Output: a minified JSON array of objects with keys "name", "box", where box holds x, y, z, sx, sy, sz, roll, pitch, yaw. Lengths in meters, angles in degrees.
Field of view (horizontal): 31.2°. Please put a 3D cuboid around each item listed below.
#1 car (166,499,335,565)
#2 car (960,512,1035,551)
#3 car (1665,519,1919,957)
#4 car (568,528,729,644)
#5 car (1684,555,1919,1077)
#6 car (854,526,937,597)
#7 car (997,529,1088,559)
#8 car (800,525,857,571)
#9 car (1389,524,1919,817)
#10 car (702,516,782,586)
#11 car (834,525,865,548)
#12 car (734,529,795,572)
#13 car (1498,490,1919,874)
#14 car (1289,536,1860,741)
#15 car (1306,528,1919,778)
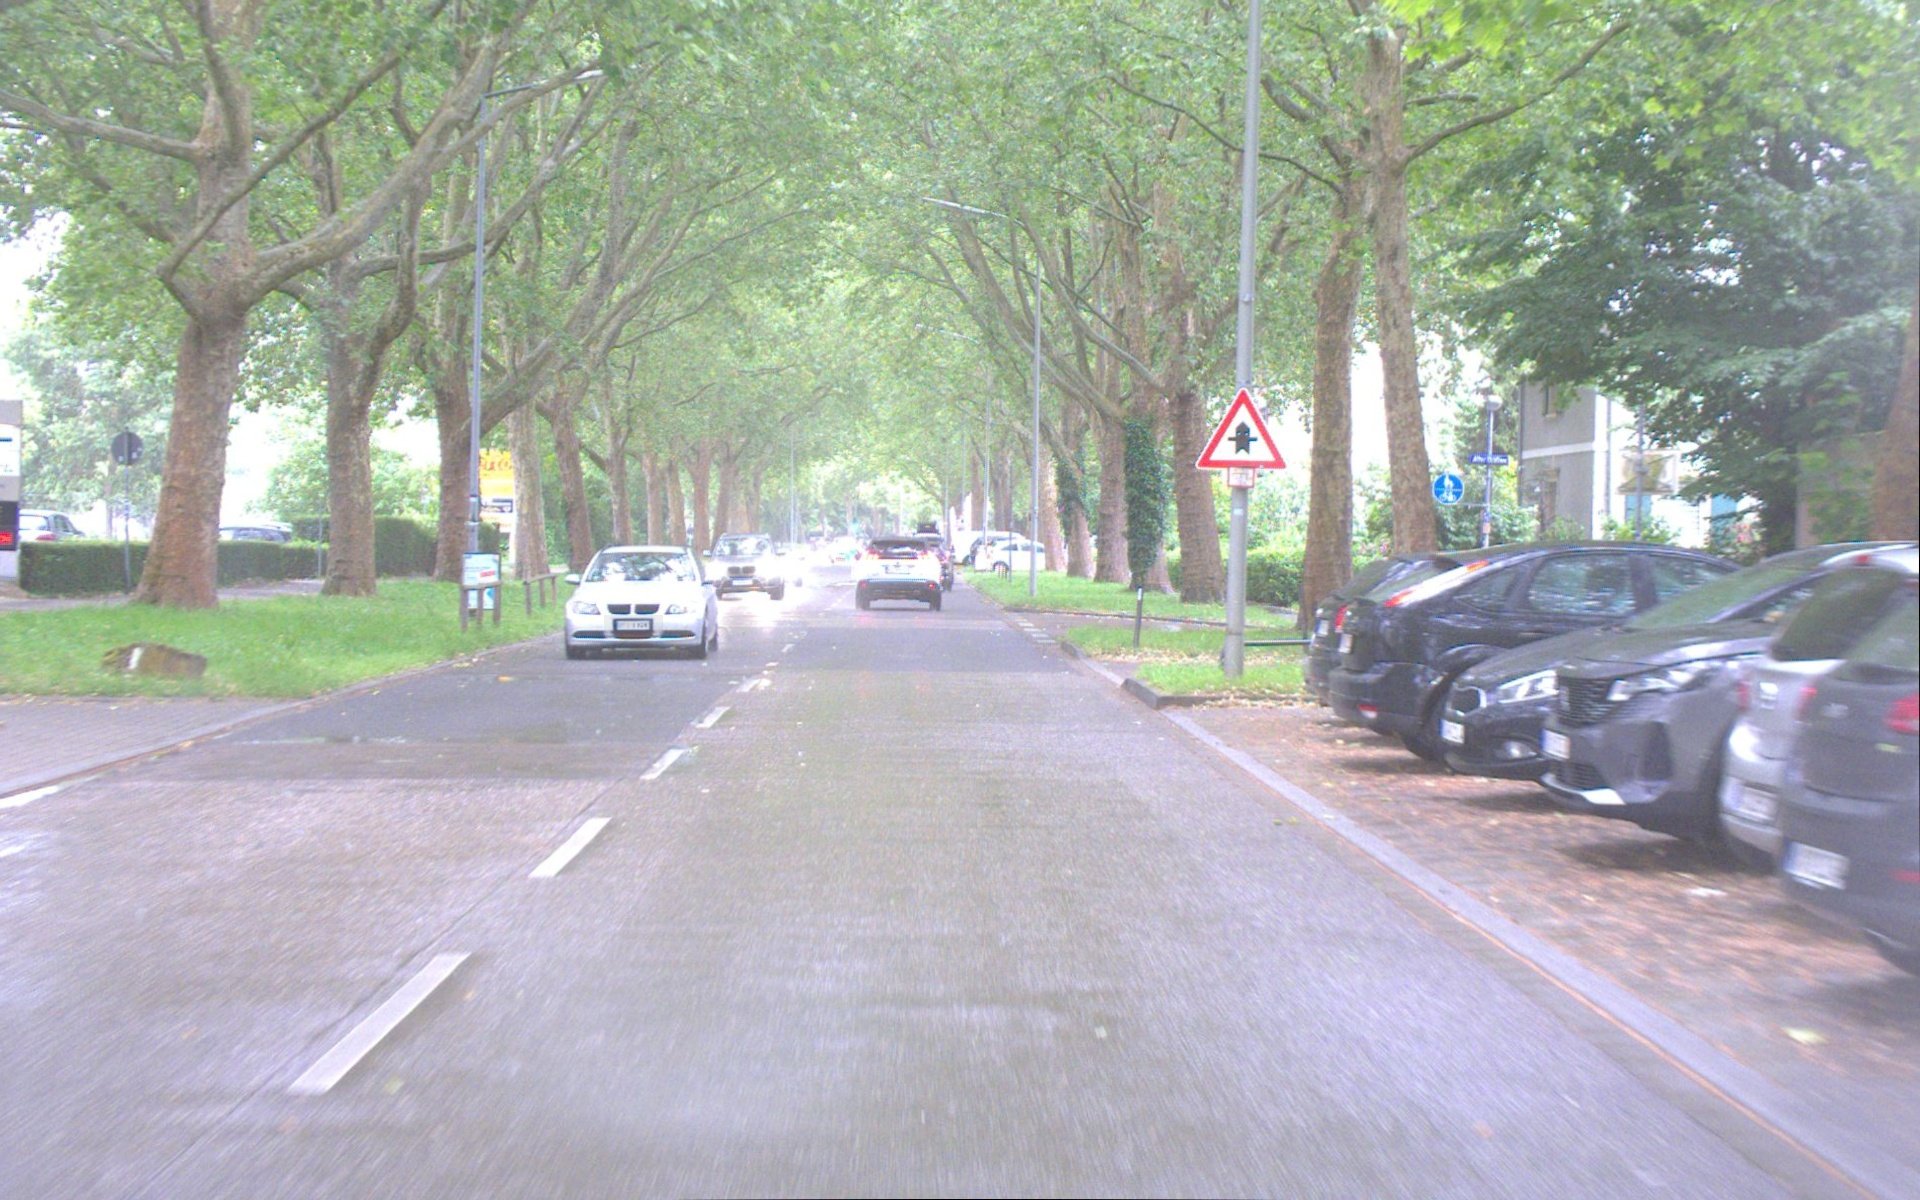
[{"name":"car","box":[-18.545,-1.783,89.956,3.987,1.617,2.000,1,1,0]},{"name":"car","box":[1.824,-3.351,167.165,3.546,1.835,1.712,-1,2,-2]},{"name":"car","box":[5.099,0.529,13.527,4.209,1.578,1.747,1,2,-3]},{"name":"car","box":[-3.976,-0.221,44.448,1.678,1.384,4.549,0,2,0]},{"name":"car","box":[4.478,0.571,10.695,4.035,1.436,1.686,-1,2,-3]},{"name":"car","box":[-1.350,-0.834,72.447,1.706,1.406,3.645,-1,2,-1]},{"name":"car","box":[3.346,-2.277,139.271,3.546,1.151,1.712,-1,2,-3]},{"name":"car","box":[-4.187,-1.669,109.782,1.706,1.406,3.645,-1,2,-1]},{"name":"car","box":[4.634,0.385,19.653,4.041,1.525,1.781,1,2,-3]},{"name":"car","box":[-5.454,-1.262,86.334,1.809,1.678,4.449,0,2,-1]},{"name":"car","box":[-6.549,-3.767,204.063,1.720,1.250,4.000,2,2,0]},{"name":"car","box":[-6.068,-1.555,106.978,1.706,1.246,3.645,-1,2,-1]},{"name":"car","box":[4.803,0.367,16.054,4.210,1.650,1.914,1,2,-1]},{"name":"car","box":[4.566,0.267,25.940,3.987,1.433,1.679,1,2,0]},{"name":"car","box":[4.414,0.314,22.442,4.100,1.508,1.865,1,2,0]}]
